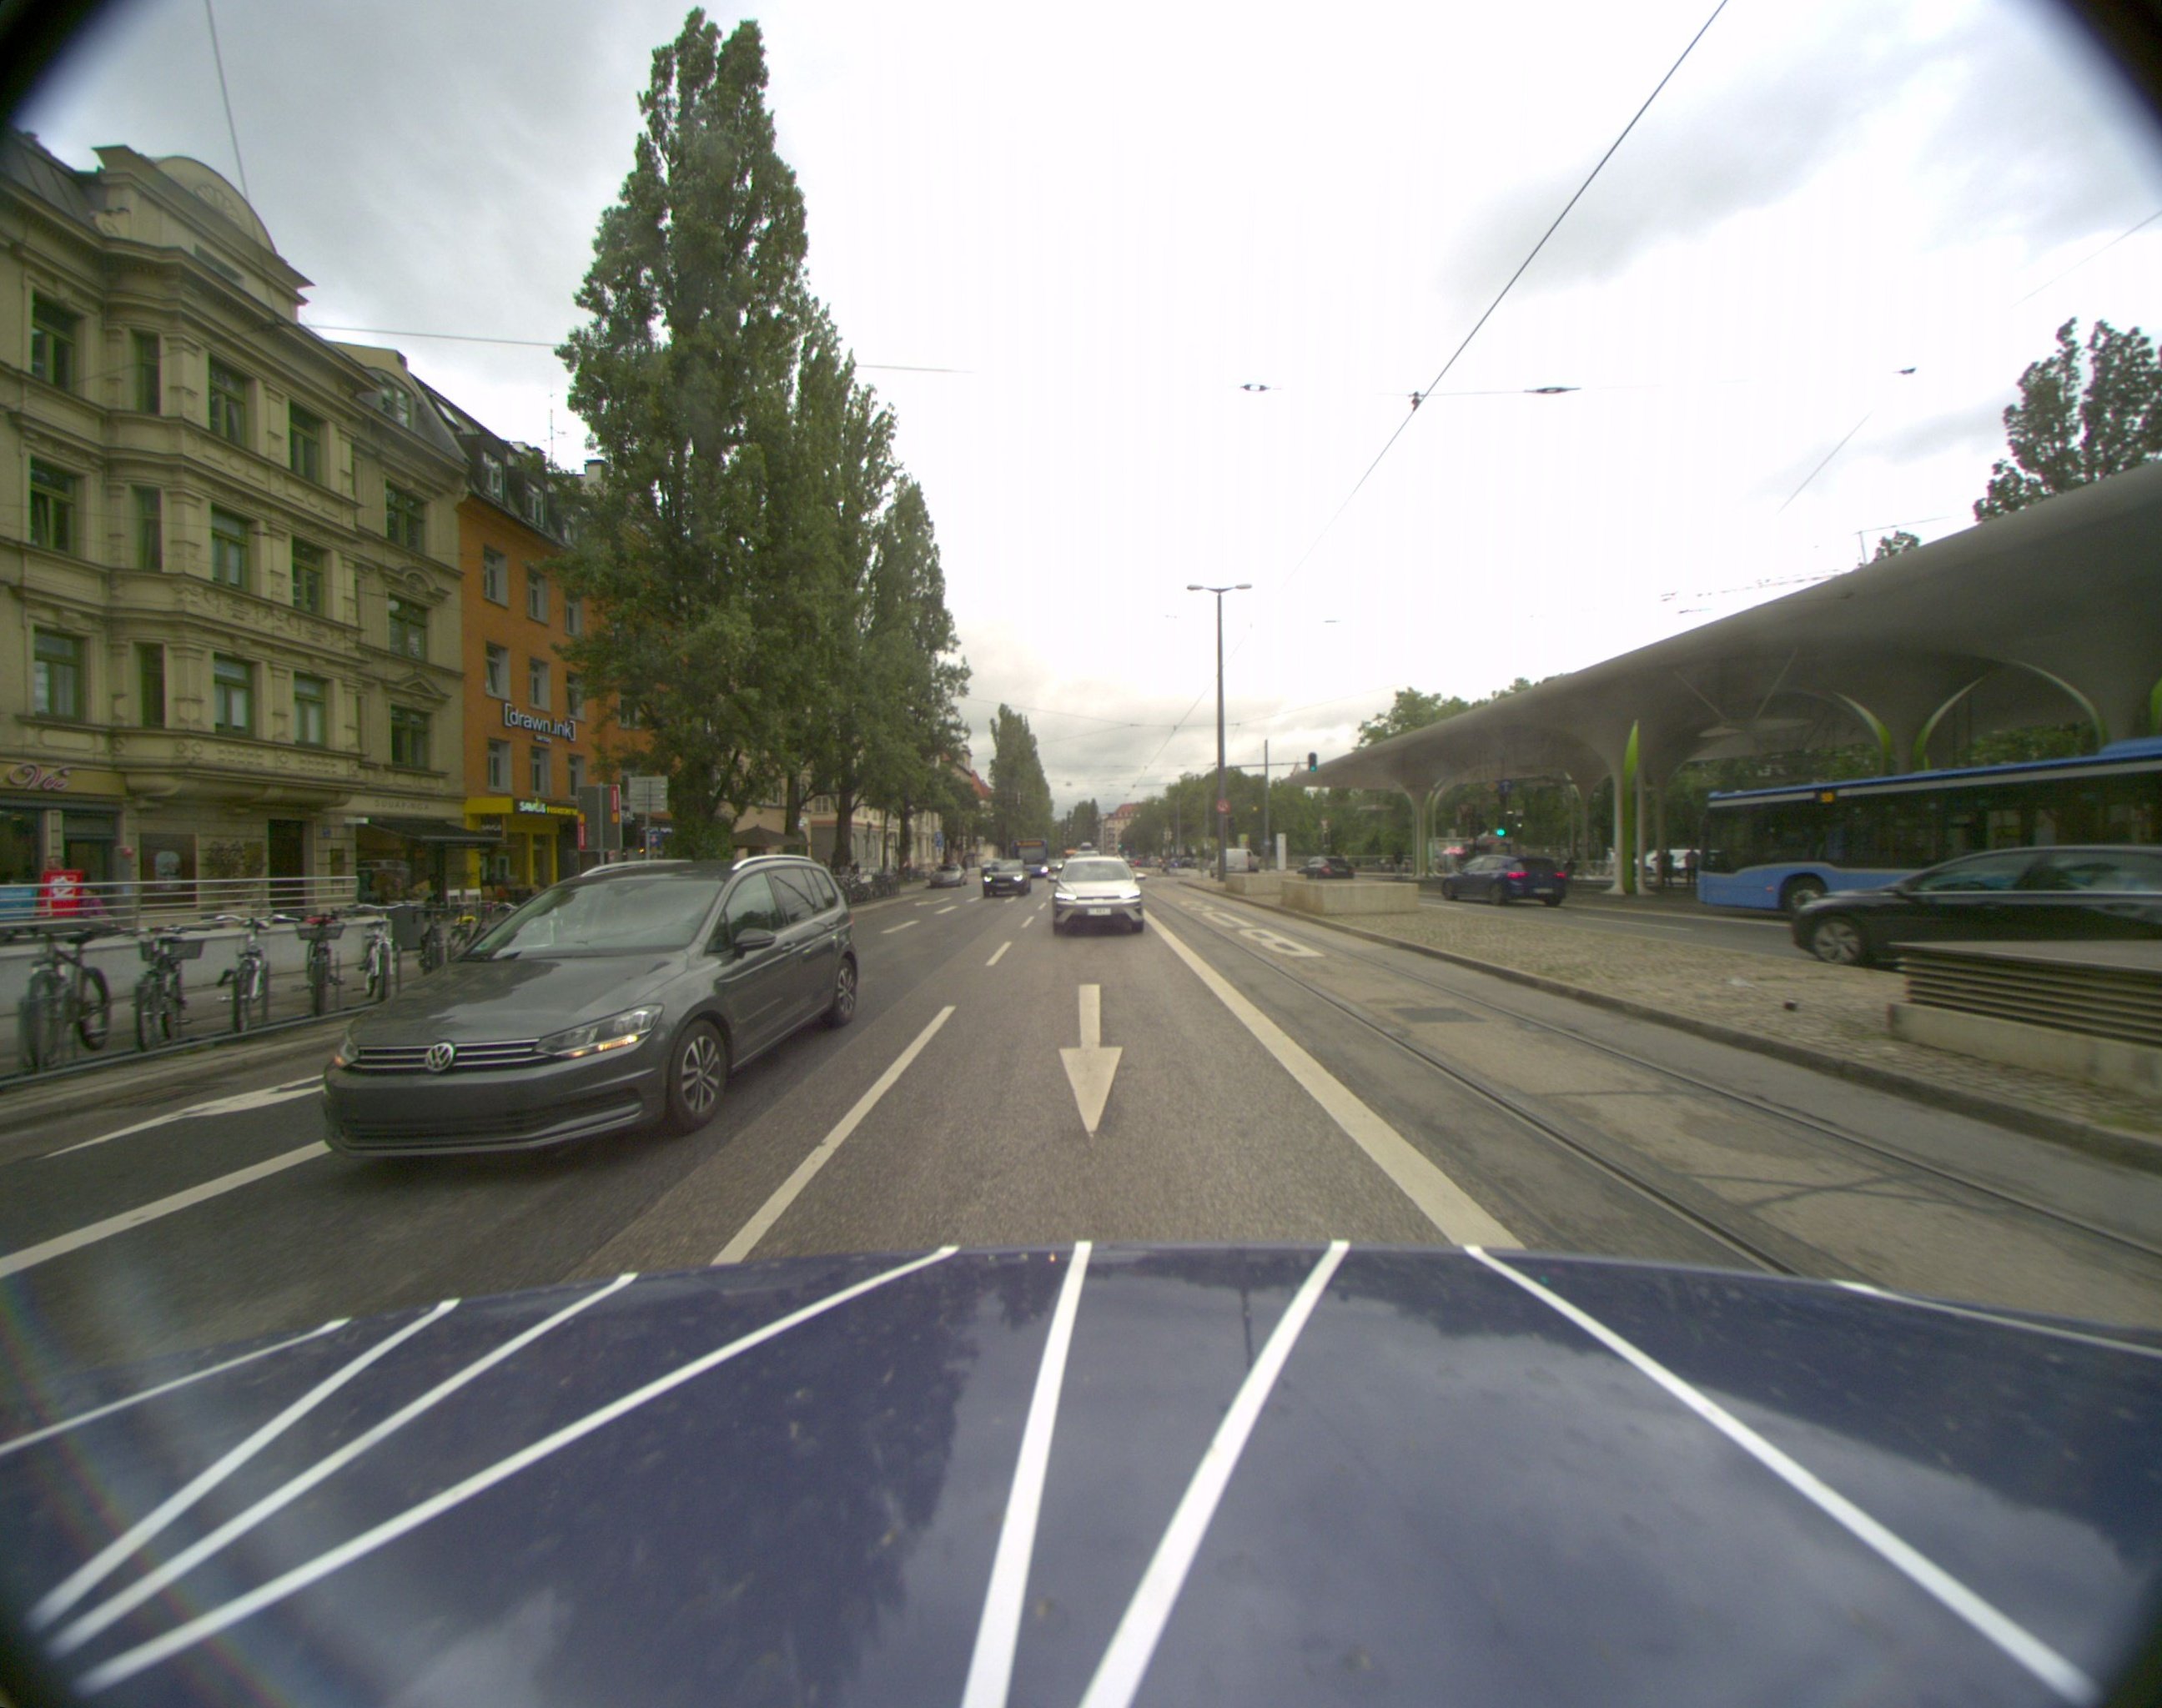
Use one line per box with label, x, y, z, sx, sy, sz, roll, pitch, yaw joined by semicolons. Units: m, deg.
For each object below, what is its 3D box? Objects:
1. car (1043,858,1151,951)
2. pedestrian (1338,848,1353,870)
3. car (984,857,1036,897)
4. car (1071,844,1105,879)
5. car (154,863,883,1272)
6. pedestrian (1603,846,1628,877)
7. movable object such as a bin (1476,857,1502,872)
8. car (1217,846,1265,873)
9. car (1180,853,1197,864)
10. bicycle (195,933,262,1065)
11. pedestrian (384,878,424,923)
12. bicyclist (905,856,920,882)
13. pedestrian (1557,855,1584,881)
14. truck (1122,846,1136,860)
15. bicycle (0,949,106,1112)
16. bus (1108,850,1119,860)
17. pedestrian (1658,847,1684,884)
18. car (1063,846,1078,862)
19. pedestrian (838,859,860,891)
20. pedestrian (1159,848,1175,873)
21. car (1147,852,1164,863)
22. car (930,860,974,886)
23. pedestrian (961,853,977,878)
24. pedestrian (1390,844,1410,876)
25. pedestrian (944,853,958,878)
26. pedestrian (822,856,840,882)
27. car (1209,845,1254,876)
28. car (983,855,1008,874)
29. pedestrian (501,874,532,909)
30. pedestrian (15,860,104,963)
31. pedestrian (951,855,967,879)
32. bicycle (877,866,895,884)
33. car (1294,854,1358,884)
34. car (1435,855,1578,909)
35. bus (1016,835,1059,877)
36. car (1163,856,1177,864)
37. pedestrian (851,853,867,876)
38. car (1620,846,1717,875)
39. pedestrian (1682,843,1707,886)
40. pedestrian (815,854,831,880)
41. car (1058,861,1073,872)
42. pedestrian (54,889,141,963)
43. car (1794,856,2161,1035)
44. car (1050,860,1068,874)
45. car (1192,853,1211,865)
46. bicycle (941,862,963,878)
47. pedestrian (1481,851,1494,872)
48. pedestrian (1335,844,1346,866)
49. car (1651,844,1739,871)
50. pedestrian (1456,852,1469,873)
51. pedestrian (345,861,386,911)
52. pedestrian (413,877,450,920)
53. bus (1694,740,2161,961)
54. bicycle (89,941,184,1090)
car;0.351;0.886;15.596;1.812;1.496;4.952;-2;0;2
pedestrian;20.203;0.380;58.078;0.739;1.619;0.741;-1;1;-20
car;-3.014;0.936;32.951;1.780;1.495;3.970;-3;1;0
car;0.455;0.424;49.269;1.998;2.100;3.999;-2;1;0
car;-3.083;0.971;5.685;1.776;1.637;4.708;-3;0;1
pedestrian;35.418;0.490;50.372;1.003;2.002;1.028;-1;1;10
movable object such as a bin;29.434;0.730;54.814;1.336;1.078;0.957;-1;0;0
car;11.841;0.392;56.615;2.181;1.876;6.155;1;0;-1
car;15.767;0.721;111.627;1.998;1.561;4.101;-1;0;0
bicycle;-8.336;1.360;7.458;1.836;0.990;0.349;1;1;44
pedestrian;-19.626;1.333;22.034;0.584;1.273;0.583;-1;1;0
bicyclist;-10.497;0.912;47.315;0.681;1.594;0.939;-1;1;1
pedestrian;23.009;0.651;35.723;0.811;1.223;1.272;-1;0;19
truck;10.405;-0.234;166.620;2.572;3.069;7.690;1;0;0
bicycle;-8.453;1.367;6.174;0.349;0.990;1.837;-1;1;-43
bus;9.960;0.345;233.655;2.632;2.949;13.414;1;0;-1
pedestrian;24.844;0.467;32.009;0.594;1.536;0.636;-1;1;-17
car;-2.020;-0.007;152.350;2.806;2.837;5.111;1;3;0
pedestrian;-11.384;1.008;37.281;0.761;1.553;0.763;-1;0;2
pedestrian;6.336;0.438;56.039;0.862;1.801;0.896;-2;1;-21
car;10.971;0.479;112.137;1.868;1.629;4.677;1;0;-1
car;-7.771;1.096;46.089;1.999;1.432;4.528;-1;0;-1
pedestrian;-8.045;0.836;54.458;0.881;1.791;0.757;-1;0;11
pedestrian;18.254;0.323;43.509;0.667;1.828;0.808;-1;1;-33
pedestrian;-9.039;0.793;52.846;0.699;1.770;0.652;-2;0;34
pedestrian;-16.355;0.994;49.734;0.748;1.675;1.017;-1;1;1
car;9.288;0.360;47.228;1.791;1.844;4.217;0;0;-2
car;-7.634;0.908;68.531;1.737;1.651;4.501;-1;0;0
pedestrian;-19.787;1.310;26.659;0.624;1.211;0.583;-1;1;0
pedestrian;-17.729;0.973;13.206;0.602;1.729;0.666;-1;1;1
pedestrian;-8.577;0.898;53.388;0.758;1.628;0.699;-1;0;-42
bicycle;-11.171;1.187;43.539;0.590;0.959;1.653;-1;0;1
car;12.297;0.726;38.458;1.677;1.370;4.613;-1;0;-1
car;12.138;0.738;22.020;1.682;1.387;4.232;0;0;-1
bus;-3.420;0.159;61.435;2.637;2.956;9.466;-3;0;1
car;15.549;1.035;132.705;1.893;1.521;4.000;0;0;1
pedestrian;-15.617;0.717;53.376;0.848;1.593;0.823;-1;1;0
car;39.967;0.429;51.789;4.923;1.936;1.872;0;0;11
pedestrian;24.687;0.412;30.590;0.671;1.718;0.812;0;1;29
pedestrian;-17.333;0.865;51.067;0.748;1.704;1.017;-1;1;1
car;-1.889;1.561;94.842;1.704;1.360;3.632;2;0;1
pedestrian;-17.110;1.239;13.234;0.602;1.215;0.666;-1;1;1
car;9.662;0.744;7.279;1.847;1.408;4.034;-1;0;-1
car;-2.329;1.418;82.396;1.704;1.424;4.246;0;-1;1
car;16.034;0.649;101.500;1.864;1.517;4.233;0;0;0
bicycle;-8.983;1.134;52.802;1.740;1.096;0.360;0;1;35
pedestrian;31.736;0.566;59.356;0.739;1.591;0.798;0;1;16
pedestrian;21.165;0.077;61.872;0.735;1.706;0.861;-1;1;11
car;39.214;0.215;48.624;3.994;1.606;1.832;-1;1;9
pedestrian;30.028;0.650;59.773;0.739;1.591;0.798;0;1;16
pedestrian;-21.173;0.943;22.501;0.626;1.466;0.583;-1;1;3
pedestrian;-19.551;1.330;22.873;0.584;1.273;0.583;-1;1;0
bus;15.932;-0.033;12.740;2.667;2.990;10.514;1;0;-1
bicycle;-8.333;1.360;6.741;1.836;0.990;0.349;1;1;44
